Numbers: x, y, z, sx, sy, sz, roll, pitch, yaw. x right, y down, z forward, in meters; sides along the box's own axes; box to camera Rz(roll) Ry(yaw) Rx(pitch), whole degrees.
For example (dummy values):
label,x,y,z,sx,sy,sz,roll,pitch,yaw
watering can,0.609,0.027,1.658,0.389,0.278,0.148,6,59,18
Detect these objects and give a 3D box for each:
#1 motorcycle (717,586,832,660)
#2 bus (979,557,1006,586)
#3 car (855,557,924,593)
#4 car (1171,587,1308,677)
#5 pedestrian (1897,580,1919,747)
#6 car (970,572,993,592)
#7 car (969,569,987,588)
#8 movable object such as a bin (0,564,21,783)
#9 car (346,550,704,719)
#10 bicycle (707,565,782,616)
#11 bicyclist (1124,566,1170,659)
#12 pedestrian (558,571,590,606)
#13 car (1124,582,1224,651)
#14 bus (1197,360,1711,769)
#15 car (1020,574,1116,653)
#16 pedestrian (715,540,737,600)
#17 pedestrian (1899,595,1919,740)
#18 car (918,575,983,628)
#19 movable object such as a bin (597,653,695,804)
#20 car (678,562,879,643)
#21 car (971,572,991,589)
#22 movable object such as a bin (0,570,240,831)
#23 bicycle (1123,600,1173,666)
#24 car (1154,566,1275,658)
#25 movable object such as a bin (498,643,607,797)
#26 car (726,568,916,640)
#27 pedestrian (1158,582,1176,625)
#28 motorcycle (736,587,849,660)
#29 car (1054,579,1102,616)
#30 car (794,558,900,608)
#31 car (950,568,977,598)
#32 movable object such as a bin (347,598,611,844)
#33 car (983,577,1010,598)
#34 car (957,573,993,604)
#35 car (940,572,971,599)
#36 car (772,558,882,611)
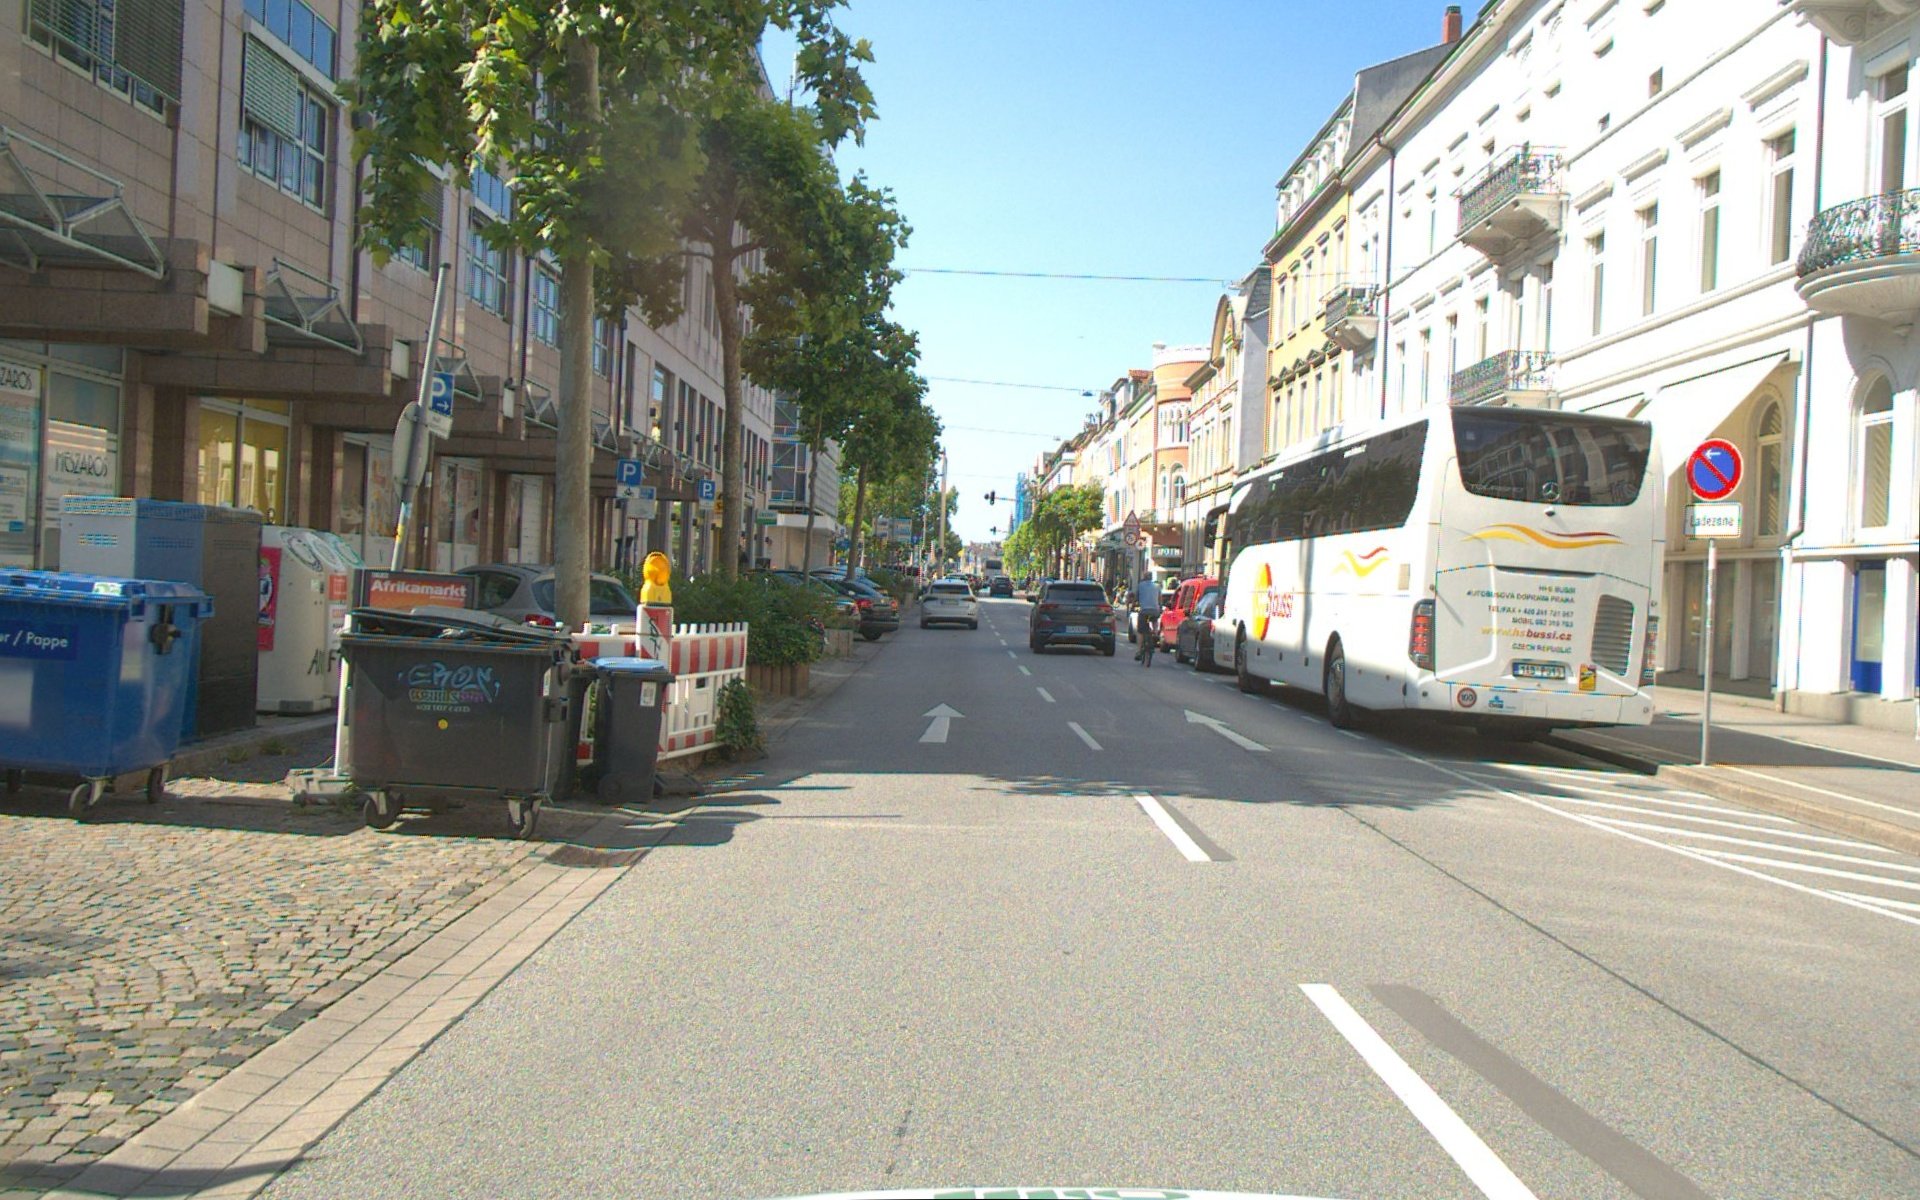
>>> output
label,x,y,z,sx,sy,sz,roll,pitch,yaw
motorcycle,-3.298,0.395,29.369,1.871,1.190,0.728,3,1,21
bus,4.173,-3.667,212.230,2.715,3.667,8.969,2,1,-3
car,-4.928,-1.735,115.820,4.640,2.037,1.931,6,1,40
car,5.432,0.561,32.798,1.821,1.495,5.226,4,1,1
pedestrian,10.678,0.696,17.852,0.561,1.809,1.020,2,-1,3
car,1.775,-1.508,139.621,1.825,1.466,3.999,1,-1,-1
car,1.868,-2.245,174.375,1.825,1.882,3.999,1,-1,-1
movable object such as a bin,-6.372,0.428,9.553,1.184,1.322,1.127,4,2,0
car,-4.886,0.312,18.339,3.986,1.520,1.924,4,2,41
bicycle,-6.159,-0.271,47.303,2.026,1.310,0.367,5,0,-8
bicyclist,3.616,0.230,31.976,0.680,1.702,0.916,4,2,1
pedestrian,-9.859,-0.305,42.234,0.554,0.822,0.774,7,1,0
car,5.595,0.389,43.796,1.777,1.491,4.579,4,2,-3
bus,5.733,-0.431,22.409,2.823,3.806,12.424,4,1,-1
car,2.307,0.264,36.300,1.795,1.554,4.000,2,0,0
pedestrian,-6.711,-0.863,47.487,0.554,1.686,0.636,2,1,-4
pedestrian,11.214,0.778,18.789,0.632,1.645,0.822,2,-1,3
car,-0.333,0.028,50.702,1.825,1.466,3.999,2,0,-2
movable object such as a bin,-2.136,0.856,11.235,0.546,0.955,0.496,0,1,-26
car,-4.220,0.041,37.920,4.675,1.559,1.978,4,1,43
car,1.987,-1.843,158.698,1.825,1.466,3.999,1,-1,-1
movable object such as a bin,-5.007,0.537,9.518,1.184,1.321,1.080,4,2,0
bicycle,3.620,0.616,31.956,0.651,1.139,2.243,4,2,0
car,5.813,0.222,38.335,1.791,1.895,4.352,4,1,-4
movable object such as a bin,-2.701,0.779,10.985,0.488,0.955,0.556,1,1,16
car,-3.478,0.072,40.901,4.710,1.447,1.873,5,2,40
pedestrian,8.898,0.147,71.009,0.638,1.840,0.730,3,0,3
motorcycle,-3.043,0.413,30.075,1.871,1.190,0.760,3,1,21
car,5.122,-0.069,72.141,1.796,1.554,3.999,0,-1,-1
car,-4.699,-0.710,68.630,3.911,1.594,1.698,7,1,25
car,0.229,-1.201,121.969,1.825,2.065,3.999,2,-1,-1
movable object such as a bin,-2.787,0.680,9.700,1.251,1.322,0.853,2,0,0
car,2.646,-0.956,121.835,1.825,1.466,4.000,2,1,-1
car,0.729,-0.616,83.651,1.707,1.466,4.000,2,1,-1
car,-0.247,-0.830,94.291,1.707,1.466,4.000,2,1,-1
car,-4.982,-0.589,62.237,3.910,1.525,1.716,6,1,-4
